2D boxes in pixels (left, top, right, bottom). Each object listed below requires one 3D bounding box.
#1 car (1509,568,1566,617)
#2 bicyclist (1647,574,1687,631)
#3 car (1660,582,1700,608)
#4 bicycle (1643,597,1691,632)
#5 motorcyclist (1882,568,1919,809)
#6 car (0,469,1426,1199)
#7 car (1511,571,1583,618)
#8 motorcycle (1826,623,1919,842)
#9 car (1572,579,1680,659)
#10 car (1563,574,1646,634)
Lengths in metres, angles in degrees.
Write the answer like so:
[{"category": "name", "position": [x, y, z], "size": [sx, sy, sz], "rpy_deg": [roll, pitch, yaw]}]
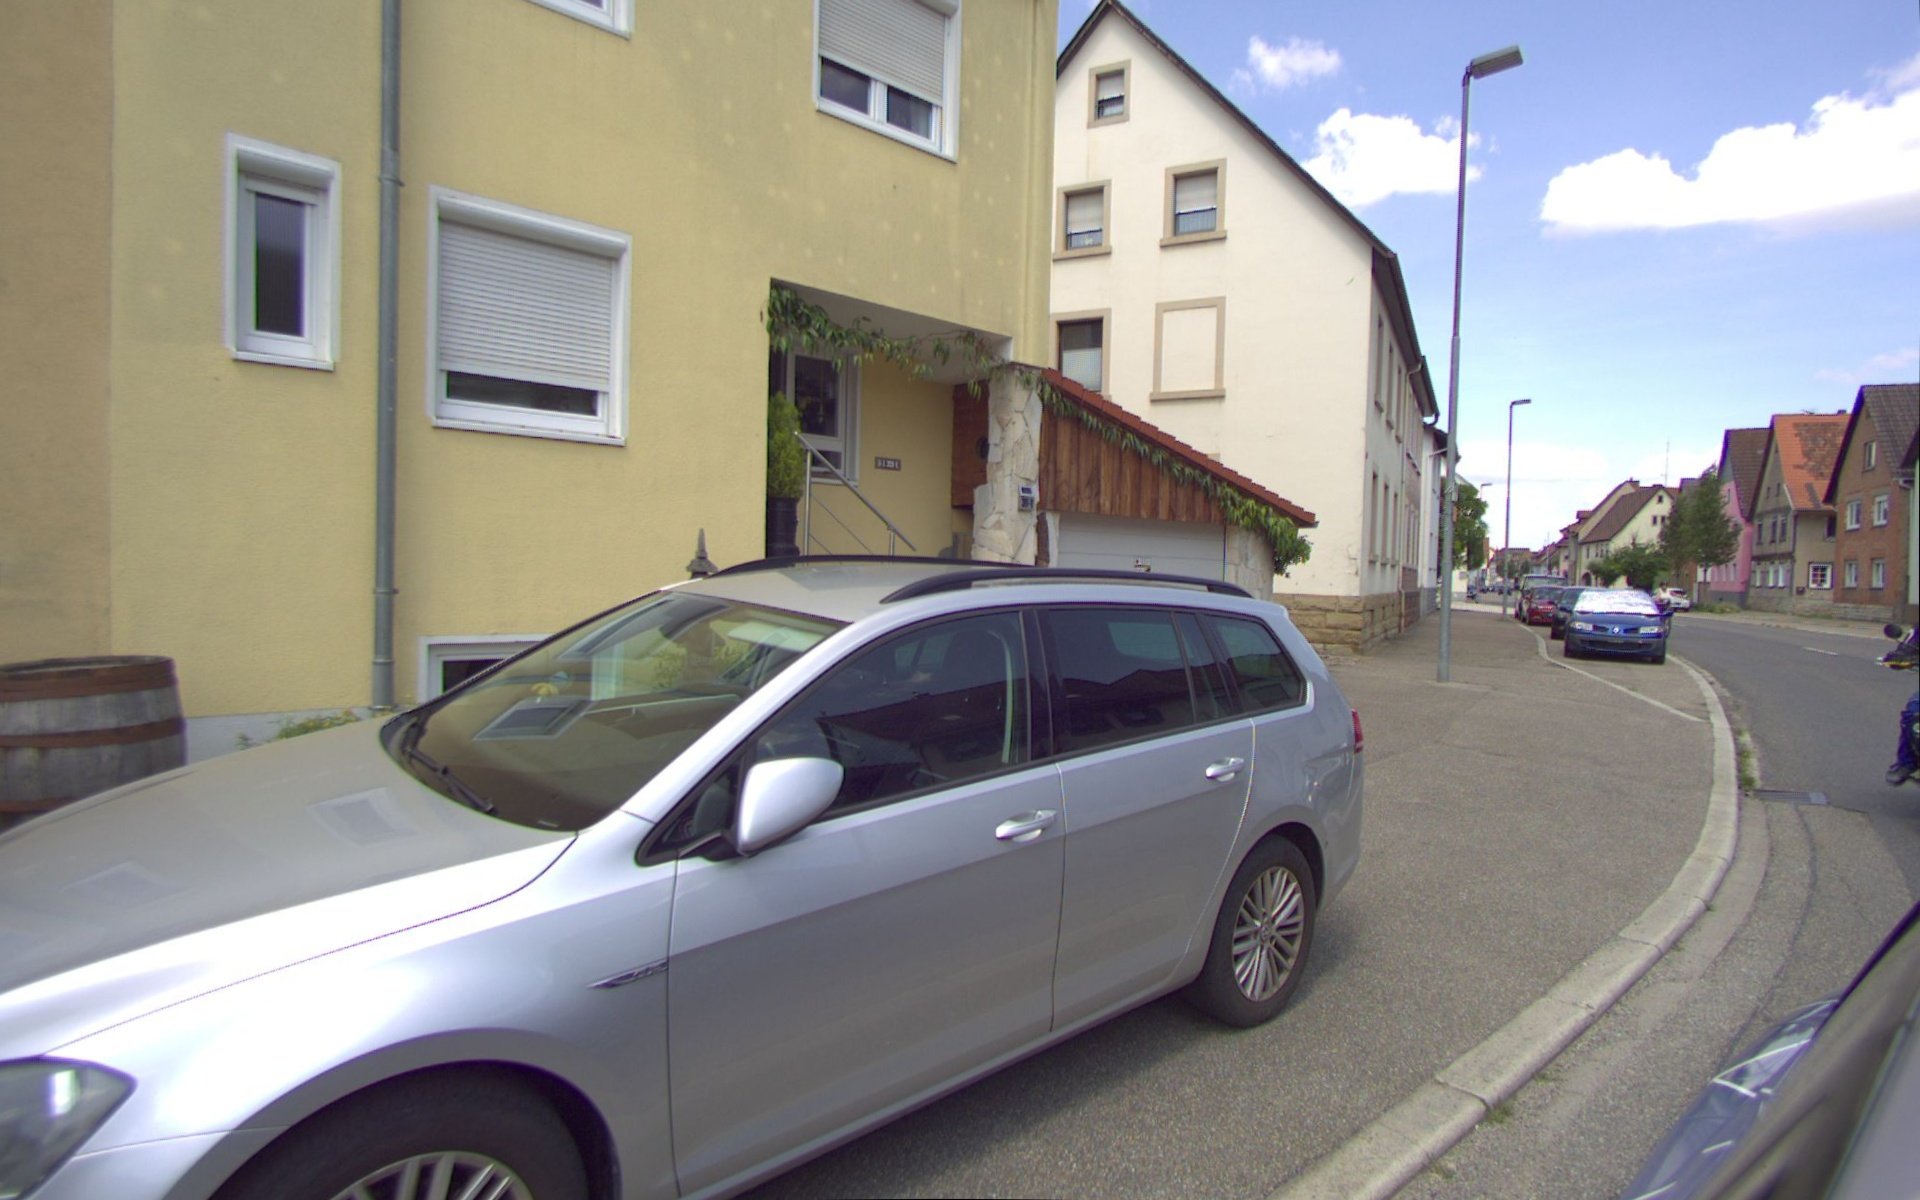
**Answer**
[{"category": "car", "position": [24.902, -0.400, 43.763], "size": [1.913, 1.939, 5.198], "rpy_deg": [0, 2, 27]}, {"category": "bicyclist", "position": [21.775, 0.075, 31.167], "size": [0.749, 1.709, 0.907], "rpy_deg": [-2, 2, -44]}, {"category": "car", "position": [45.455, -0.339, 63.918], "size": [1.670, 1.549, 3.464], "rpy_deg": [0, 2, 29]}, {"category": "bicycle", "position": [21.784, 0.446, 31.162], "size": [0.932, 1.024, 1.893], "rpy_deg": [1, 0, 44]}, {"category": "motorcyclist", "position": [6.963, 0.599, 6.776], "size": [0.784, 1.619, 1.001], "rpy_deg": [-2, 2, -33]}, {"category": "car", "position": [-0.512, 0.528, 3.100], "size": [4.260, 1.548, 1.889], "rpy_deg": [-1, 5, -41]}, {"category": "car", "position": [21.937, -0.226, 37.965], "size": [1.645, 1.668, 3.974], "rpy_deg": [0, 1, 20]}, {"category": "motorcycle", "position": [6.561, 0.798, 6.504], "size": [2.062, 1.257, 0.986], "rpy_deg": [0, 0, -34]}, {"category": "car", "position": [14.052, 0.325, 21.384], "size": [1.717, 1.402, 3.953], "rpy_deg": [2, 3, 34]}, {"category": "car", "position": [18.081, 0.134, 28.536], "size": [1.759, 1.549, 3.956], "rpy_deg": [2, 0, 30]}]
